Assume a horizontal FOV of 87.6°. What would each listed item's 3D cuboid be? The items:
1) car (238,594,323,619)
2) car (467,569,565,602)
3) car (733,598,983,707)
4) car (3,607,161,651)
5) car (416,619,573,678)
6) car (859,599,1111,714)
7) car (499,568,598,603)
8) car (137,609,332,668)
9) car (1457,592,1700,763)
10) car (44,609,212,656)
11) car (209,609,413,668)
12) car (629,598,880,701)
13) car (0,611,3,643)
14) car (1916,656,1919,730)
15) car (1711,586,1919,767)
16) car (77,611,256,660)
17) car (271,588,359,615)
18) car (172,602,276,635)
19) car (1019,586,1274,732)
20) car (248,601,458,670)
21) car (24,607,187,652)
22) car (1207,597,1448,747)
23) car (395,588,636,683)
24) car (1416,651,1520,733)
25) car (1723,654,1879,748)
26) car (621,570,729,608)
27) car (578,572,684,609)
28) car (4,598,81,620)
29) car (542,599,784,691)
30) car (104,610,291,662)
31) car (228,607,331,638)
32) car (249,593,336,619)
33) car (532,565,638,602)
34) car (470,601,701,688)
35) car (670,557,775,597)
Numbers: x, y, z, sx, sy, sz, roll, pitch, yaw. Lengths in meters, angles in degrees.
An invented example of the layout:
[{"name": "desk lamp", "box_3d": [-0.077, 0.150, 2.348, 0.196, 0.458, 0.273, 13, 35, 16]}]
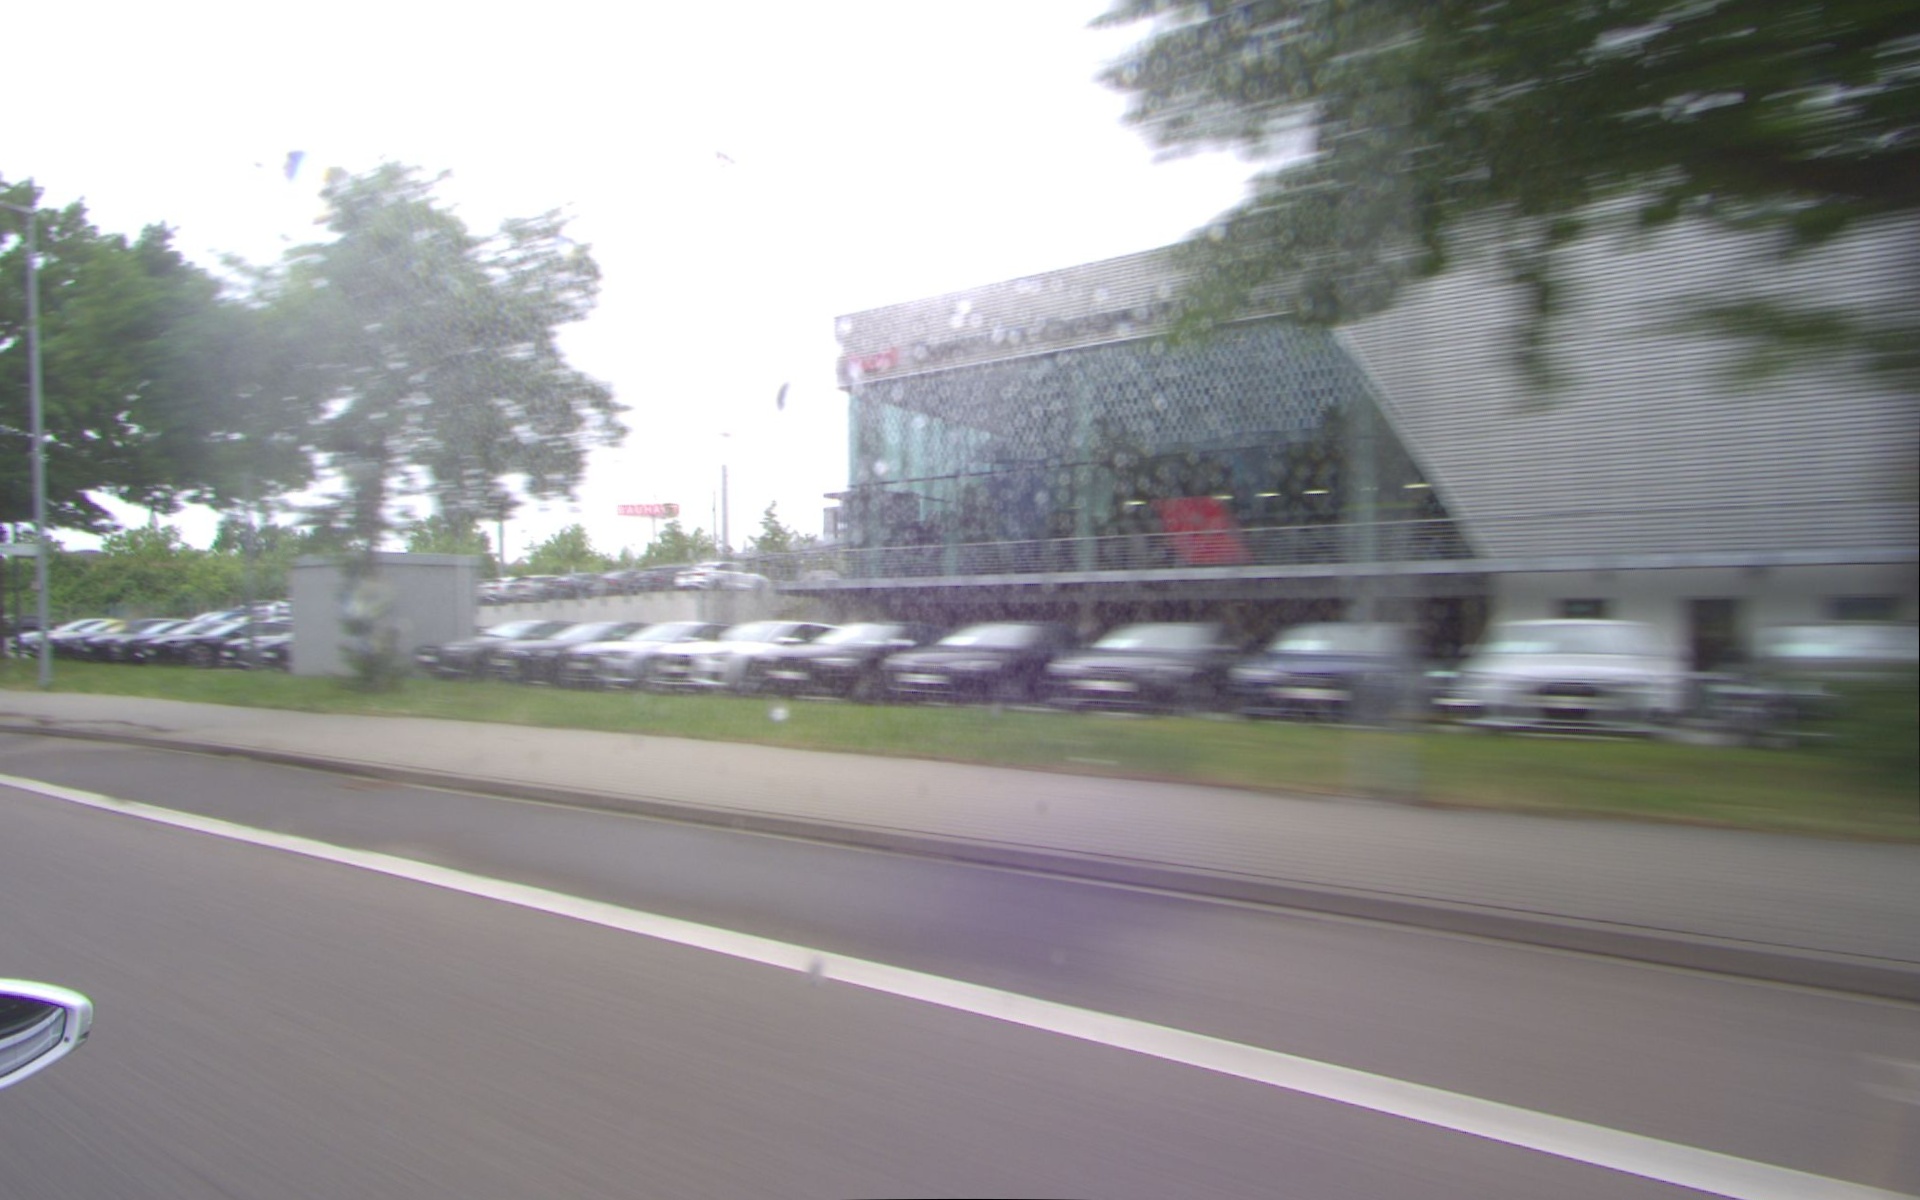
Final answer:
[{"name": "car", "box_3d": [-42.210, 0.441, 62.275, 1.704, 1.455, 4.079, 2, 0, 31]}, {"name": "car", "box_3d": [-21.557, -0.669, 48.759, 1.704, 1.455, 4.079, 2, 0, 31]}, {"name": "car", "box_3d": [-1.580, 0.955, 17.063, 1.972, 1.486, 4.172, 2, -5, 34]}, {"name": "car", "box_3d": [-32.387, 1.051, 37.036, 1.704, 1.455, 4.079, 2, 0, 31]}, {"name": "car", "box_3d": [-12.147, 1.209, 26.081, 3.944, 1.350, 1.914, 0, 0, 33]}, {"name": "car", "box_3d": [0.543, 0.935, 15.466, 1.906, 1.474, 4.171, 2, -4, 34]}, {"name": "car", "box_3d": [-19.382, -0.653, 47.329, 1.704, 1.516, 4.079, 2, 0, 31]}, {"name": "car", "box_3d": [-22.112, 1.097, 30.704, 1.971, 1.592, 4.436, 0, 1, 32]}, {"name": "car", "box_3d": [6.944, 0.880, 11.346, 1.930, 1.504, 4.194, 2, -4, 32]}, {"name": "car", "box_3d": [-28.515, 1.084, 34.447, 1.795, 1.455, 4.079, 2, 0, 31]}, {"name": "car", "box_3d": [-17.870, 1.116, 27.783, 1.972, 1.409, 4.287, -1, -5, 34]}, {"name": "car", "box_3d": [-3.650, 0.984, 18.602, 1.972, 1.538, 4.390, 2, -5, 33]}, {"name": "car", "box_3d": [-46.226, 1.186, 45.378, 1.708, 1.455, 3.971, 2, 0, 39]}, {"name": "car", "box_3d": [17.804, 1.727, 16.907, 1.626, 1.382, 3.750, 2, 0, 32]}, {"name": "car", "box_3d": [9.019, 0.840, 10.193, 1.792, 1.503, 4.062, 2, -4, 32]}, {"name": "car", "box_3d": [-26.223, 1.142, 33.242, 1.816, 1.508, 4.336, 0, -1, 32]}, {"name": "car", "box_3d": [-38.489, 0.106, 59.867, 1.704, 1.455, 4.079, 2, 0, 31]}, {"name": "car", "box_3d": [-38.833, 0.962, 52.900, 1.704, 1.641, 4.079, 2, 0, 31]}, {"name": "car", "box_3d": [2.764, 0.875, 14.003, 1.972, 1.682, 4.171, 2, -4, 34]}, {"name": "car", "box_3d": [-15.867, 0.992, 26.396, 1.972, 1.583, 4.254, -1, -5, 33]}, {"name": "car", "box_3d": [-30.457, 1.021, 35.813, 1.819, 1.455, 4.079, 2, 0, 31]}, {"name": "car", "box_3d": [4.789, 0.930, 12.656, 1.948, 1.504, 4.178, 2, -4, 33]}, {"name": "car", "box_3d": [-9.909, 0.861, 22.698, 1.972, 1.722, 4.546, 2, -5, 34]}, {"name": "car", "box_3d": [10.872, 1.872, 21.318, 1.626, 1.420, 3.750, 2, 0, 32]}, {"name": "car", "box_3d": [15.388, 1.772, 18.513, 1.626, 1.382, 3.750, 2, 0, 32]}, {"name": "car", "box_3d": [-12.393, -0.467, 43.794, 2.038, 1.516, 4.329, 2, 0, 31]}, {"name": "car", "box_3d": [-14.738, -0.413, 45.054, 1.941, 1.516, 4.329, 2, 0, 31]}, {"name": "car", "box_3d": [-67.079, 0.681, 73.248, 1.708, 1.455, 3.971, 2, 0, 39]}, {"name": "car", "box_3d": [-5.773, 0.960, 19.995, 2.001, 1.522, 4.290, 0, -5, 34]}, {"name": "car", "box_3d": [-24.249, 1.183, 31.998, 1.902, 1.522, 4.339, 0, -3, 32]}, {"name": "car", "box_3d": [-35.154, 1.165, 51.814, 1.704, 1.455, 4.079, 2, 0, 31]}, {"name": "car", "box_3d": [-40.642, 0.399, 61.009, 1.704, 1.455, 4.079, 2, 0, 31]}, {"name": "car", "box_3d": [-17.151, -0.717, 45.995, 1.854, 1.516, 4.329, 2, 0, 31]}, {"name": "car", "box_3d": [-7.805, 0.990, 21.230, 1.932, 1.463, 4.172, 2, -5, 34]}, {"name": "car", "box_3d": [-9.989, -0.935, 42.424, 1.854, 1.516, 4.329, 2, 0, 31]}]
